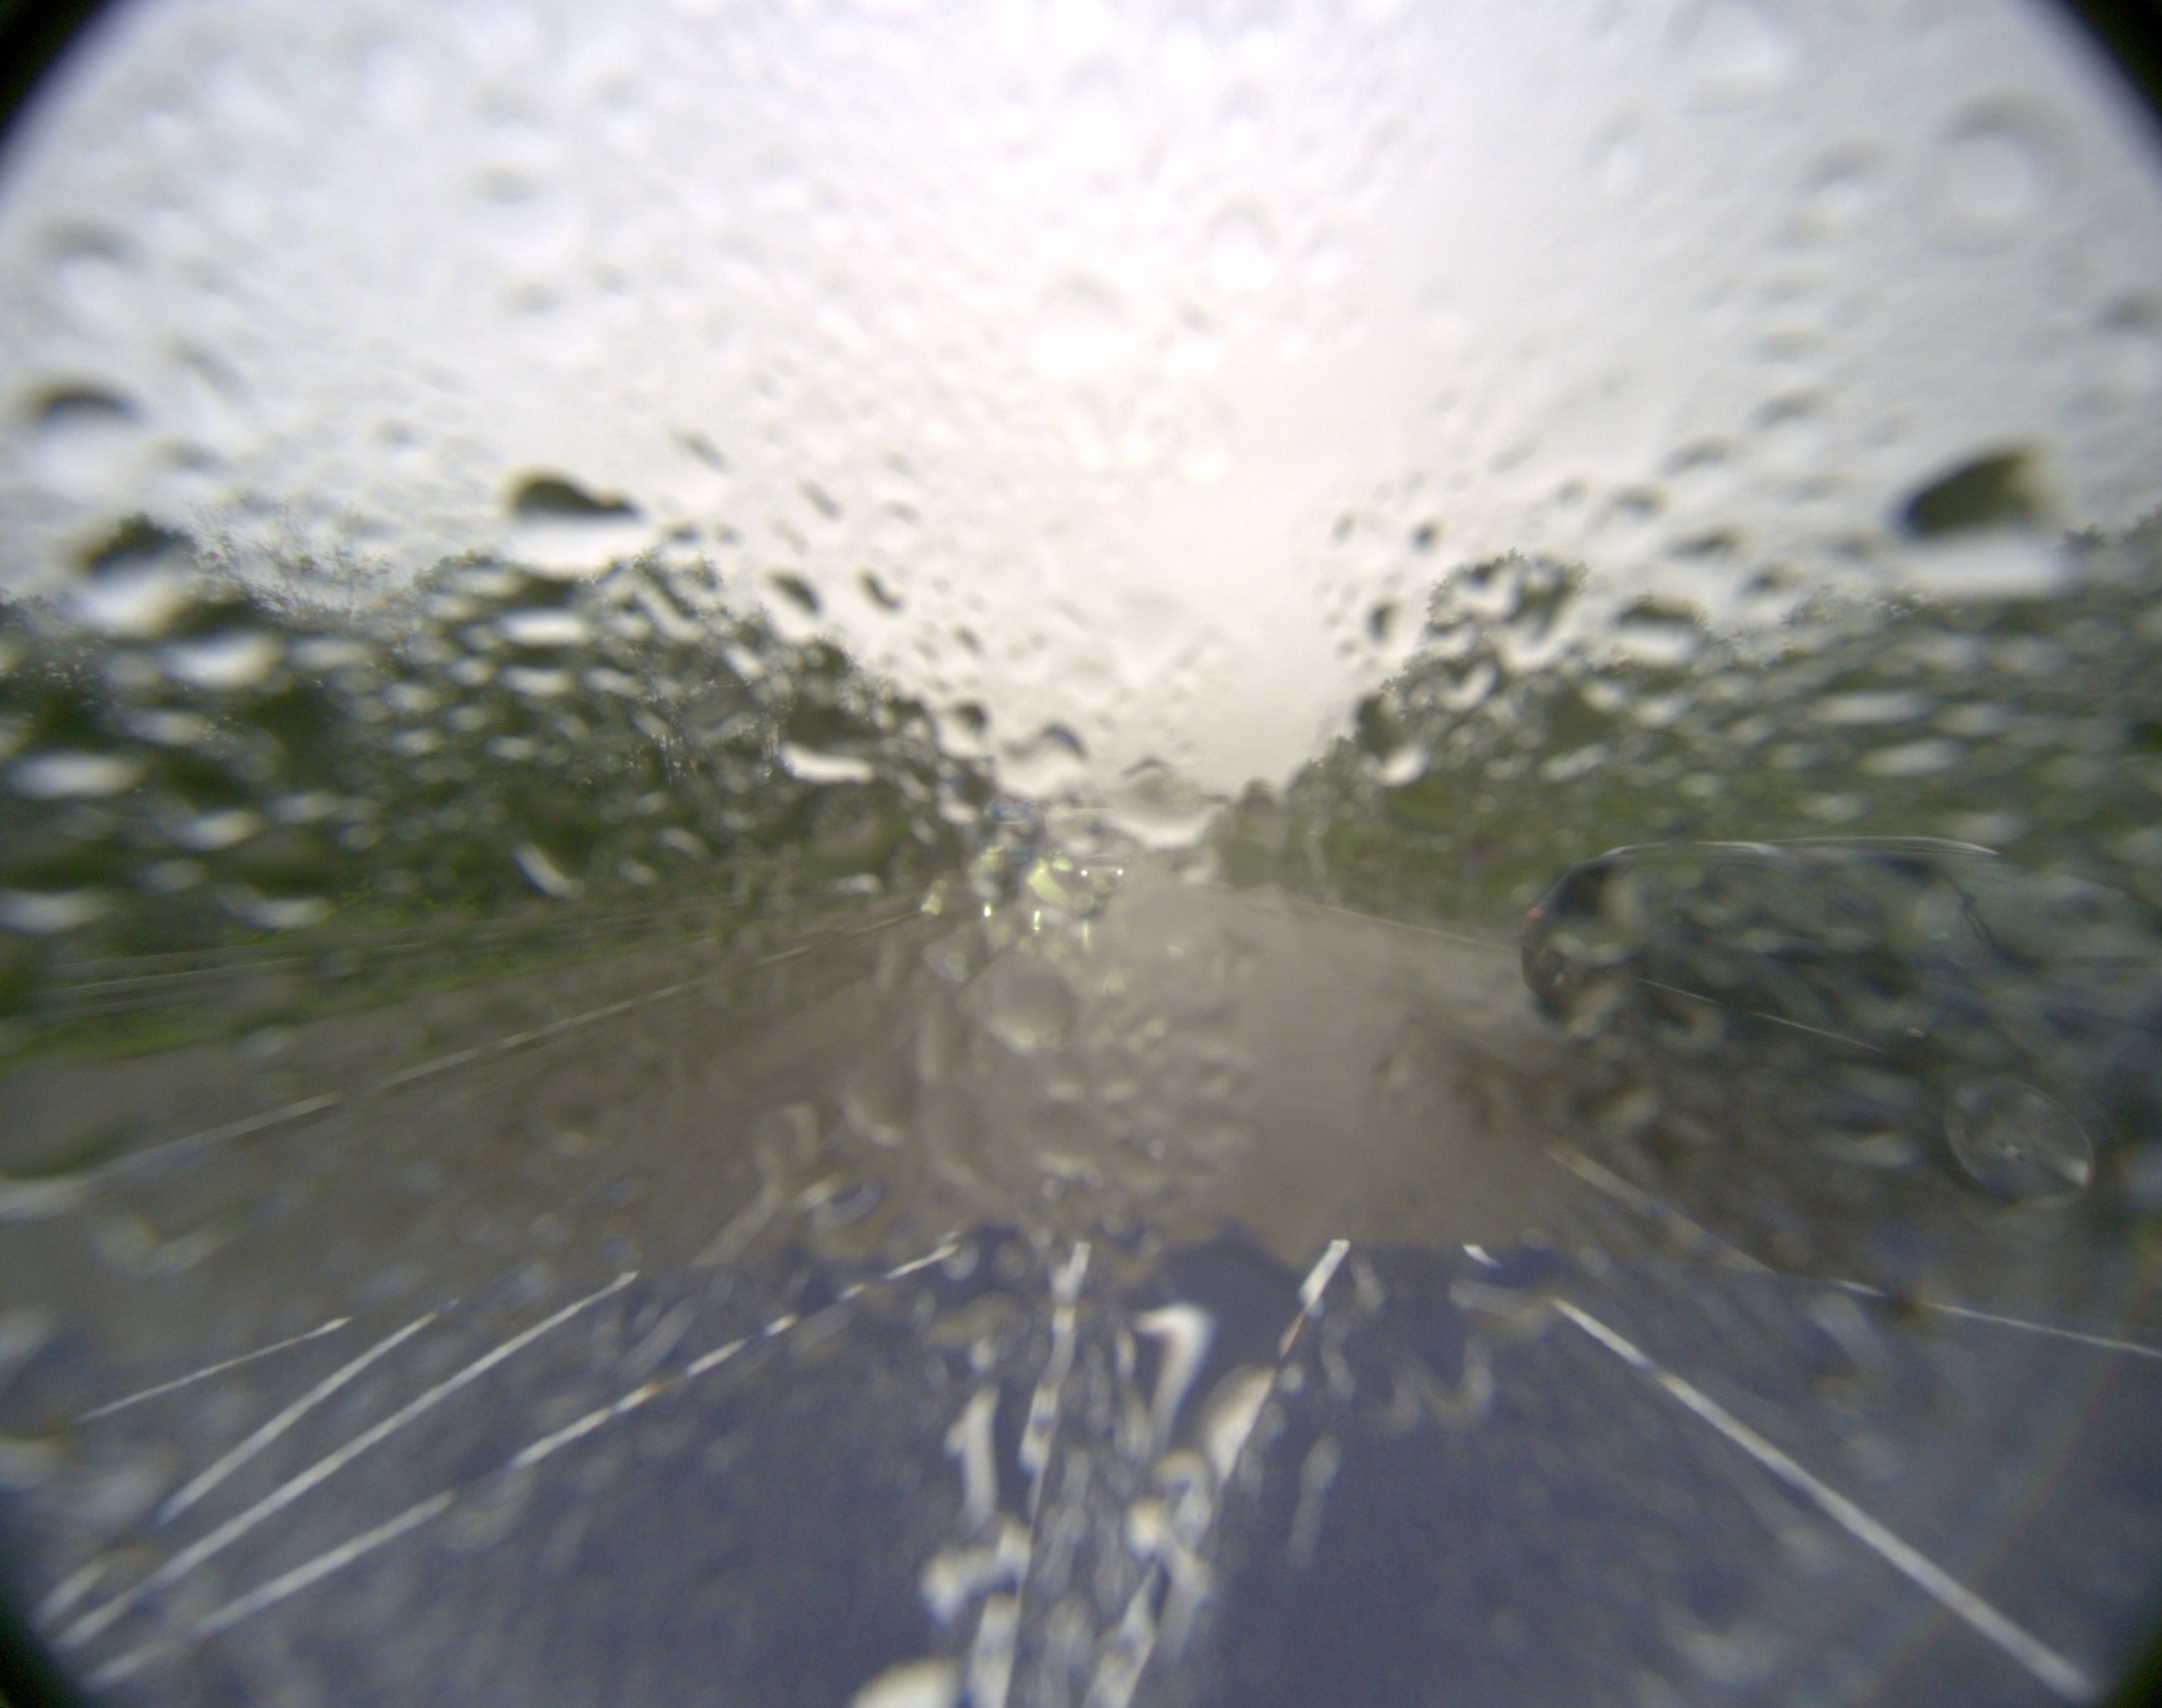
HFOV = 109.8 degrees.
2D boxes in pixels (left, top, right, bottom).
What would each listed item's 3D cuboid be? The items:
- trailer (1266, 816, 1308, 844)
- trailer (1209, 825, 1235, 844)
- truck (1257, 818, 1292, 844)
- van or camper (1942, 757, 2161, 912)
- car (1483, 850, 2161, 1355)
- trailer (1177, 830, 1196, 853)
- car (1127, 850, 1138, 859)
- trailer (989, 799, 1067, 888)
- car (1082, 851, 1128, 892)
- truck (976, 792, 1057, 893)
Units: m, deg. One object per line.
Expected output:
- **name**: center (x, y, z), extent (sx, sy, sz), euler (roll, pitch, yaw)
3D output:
- **trailer**: center (19.226, -2.194, 71.366), extent (2.276, 2.414, 6.648), euler (-2, 1, 2)
- **trailer**: center (28.146, -3.886, 152.239), extent (3.436, 3.364, 11.548), euler (-2, 0, 3)
- **truck**: center (19.353, -2.247, 76.299), extent (2.245, 2.408, 5.344), euler (-2, 0, 1)
- **van or camper**: center (17.849, -0.343, 11.805), extent (2.290, 2.395, 5.892), euler (-2, 0, 1)
- **car**: center (4.385, 0.771, 3.759), extent (2.059, 1.477, 5.157), euler (-2, 1, 0)
- **trailer**: center (25.897, -2.978, 186.384), extent (3.436, 5.426, 11.548), euler (-2, 0, 3)
- **car**: center (9.730, 0.050, 144.046), extent (1.900, 1.533, 4.090), euler (-2, 0, 1)
- **trailer**: center (-2.529, -0.553, 41.561), extent (2.751, 3.941, 14.129), euler (-2, 1, 2)
- **car**: center (1.029, 0.694, 32.225), extent (1.751, 1.545, 4.090), euler (-2, 0, 2)
- **truck**: center (-2.748, -0.516, 34.351), extent (2.755, 4.055, 6.482), euler (-2, 1, 2)
